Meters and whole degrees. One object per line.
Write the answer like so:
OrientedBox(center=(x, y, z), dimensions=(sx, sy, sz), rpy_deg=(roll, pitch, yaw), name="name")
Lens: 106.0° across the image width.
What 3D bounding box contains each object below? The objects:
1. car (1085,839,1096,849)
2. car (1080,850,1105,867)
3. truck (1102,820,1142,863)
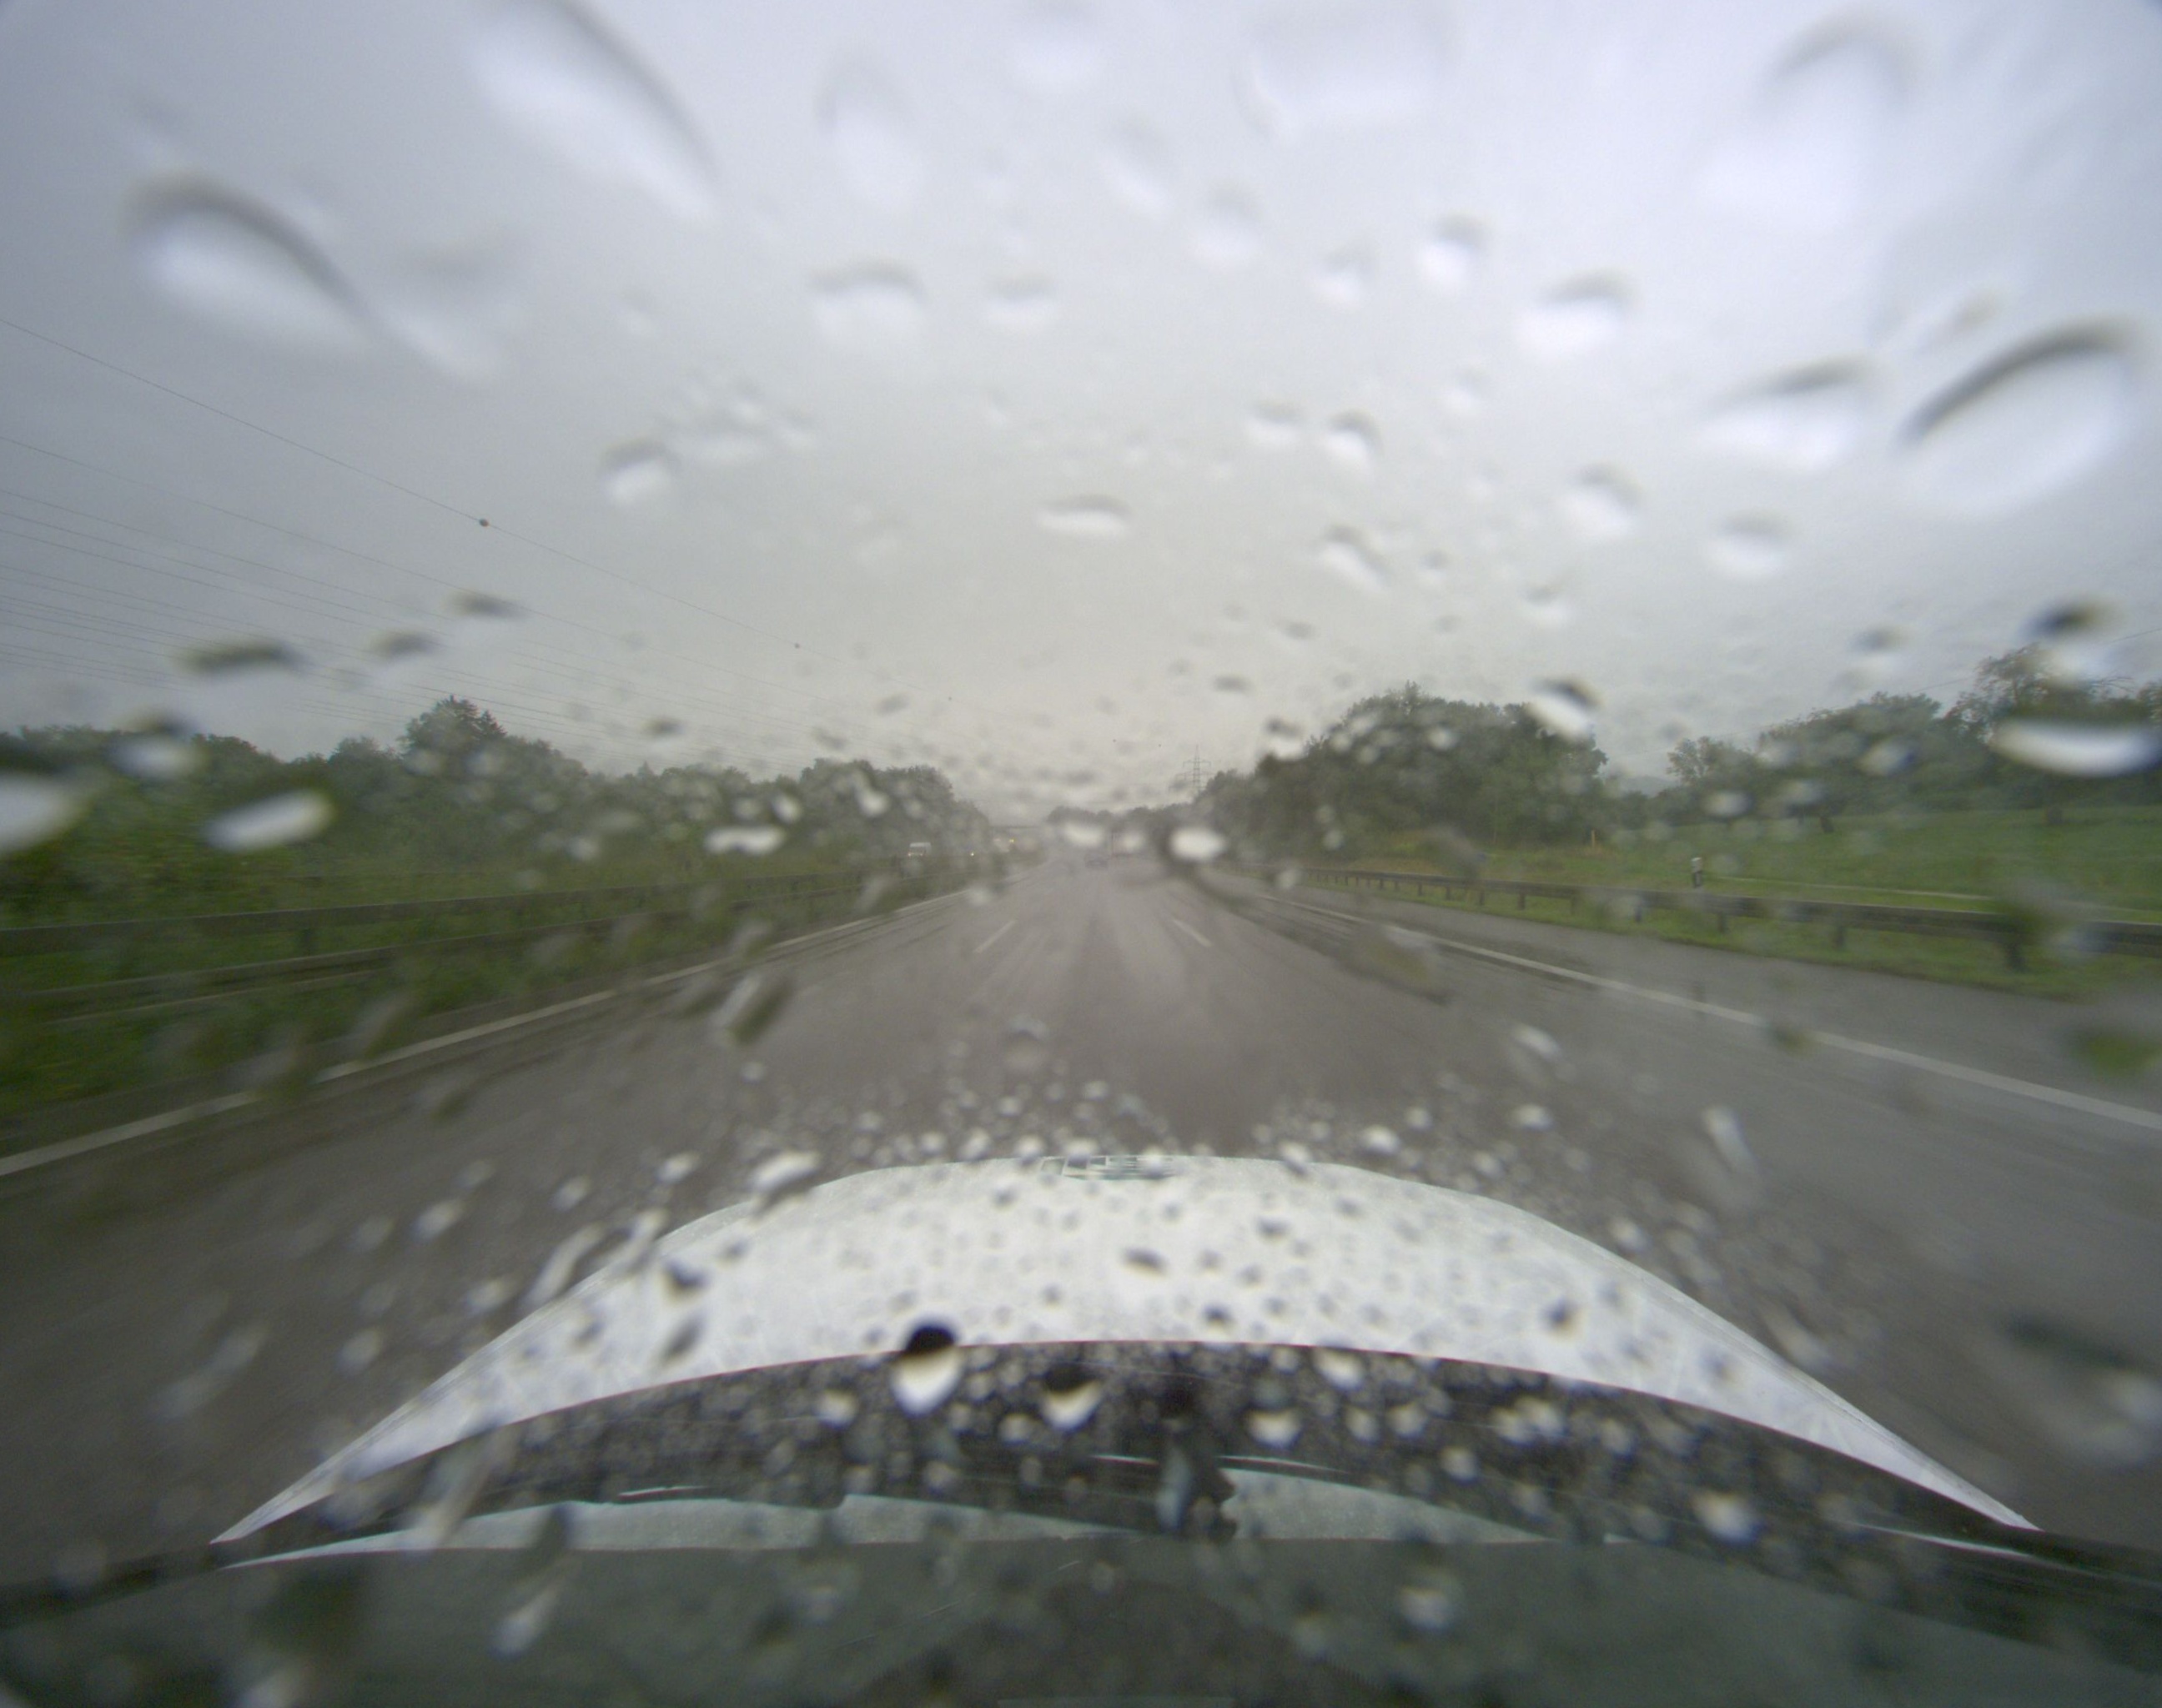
OrientedBox(center=(2.251, -2.280, 191.059), dimensions=(2.385, 2.272, 5.002), rpy_deg=(1, 1, 0), name="car")
OrientedBox(center=(0.946, 0.312, 63.768), dimensions=(1.741, 1.212, 4.004), rpy_deg=(2, 0, 3), name="car")
OrientedBox(center=(5.539, -1.588, 105.800), dimensions=(4.236, 4.972, 17.367), rpy_deg=(-2, 0, 5), name="truck")
